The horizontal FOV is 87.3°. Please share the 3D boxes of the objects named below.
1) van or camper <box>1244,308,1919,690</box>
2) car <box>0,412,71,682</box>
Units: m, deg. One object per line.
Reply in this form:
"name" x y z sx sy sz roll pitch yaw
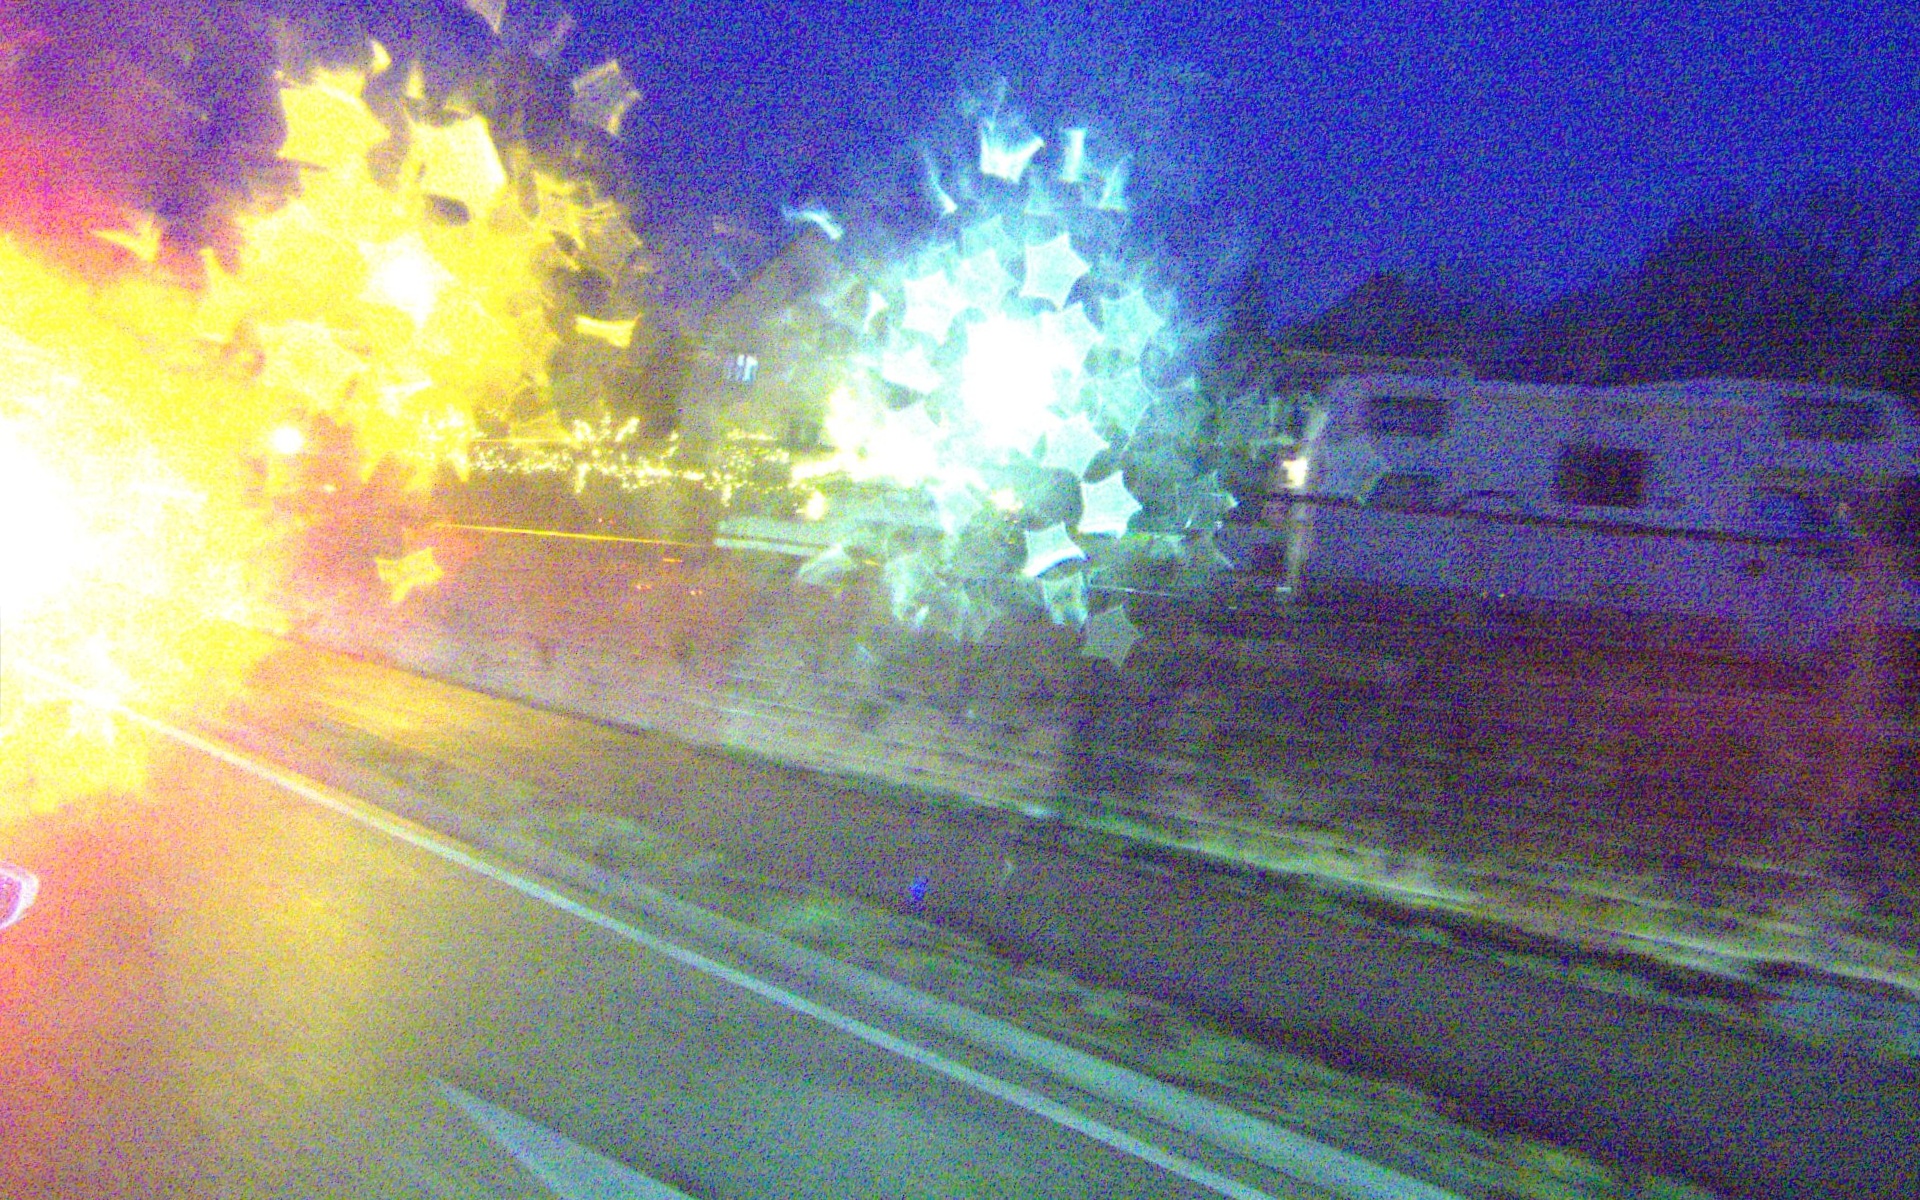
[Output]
"van or camper" 6.453 -0.979 10.559 6.237 2.943 2.590 7 0 13
"car" -9.205 -0.670 8.123 4.151 1.995 1.944 7 -1 35
